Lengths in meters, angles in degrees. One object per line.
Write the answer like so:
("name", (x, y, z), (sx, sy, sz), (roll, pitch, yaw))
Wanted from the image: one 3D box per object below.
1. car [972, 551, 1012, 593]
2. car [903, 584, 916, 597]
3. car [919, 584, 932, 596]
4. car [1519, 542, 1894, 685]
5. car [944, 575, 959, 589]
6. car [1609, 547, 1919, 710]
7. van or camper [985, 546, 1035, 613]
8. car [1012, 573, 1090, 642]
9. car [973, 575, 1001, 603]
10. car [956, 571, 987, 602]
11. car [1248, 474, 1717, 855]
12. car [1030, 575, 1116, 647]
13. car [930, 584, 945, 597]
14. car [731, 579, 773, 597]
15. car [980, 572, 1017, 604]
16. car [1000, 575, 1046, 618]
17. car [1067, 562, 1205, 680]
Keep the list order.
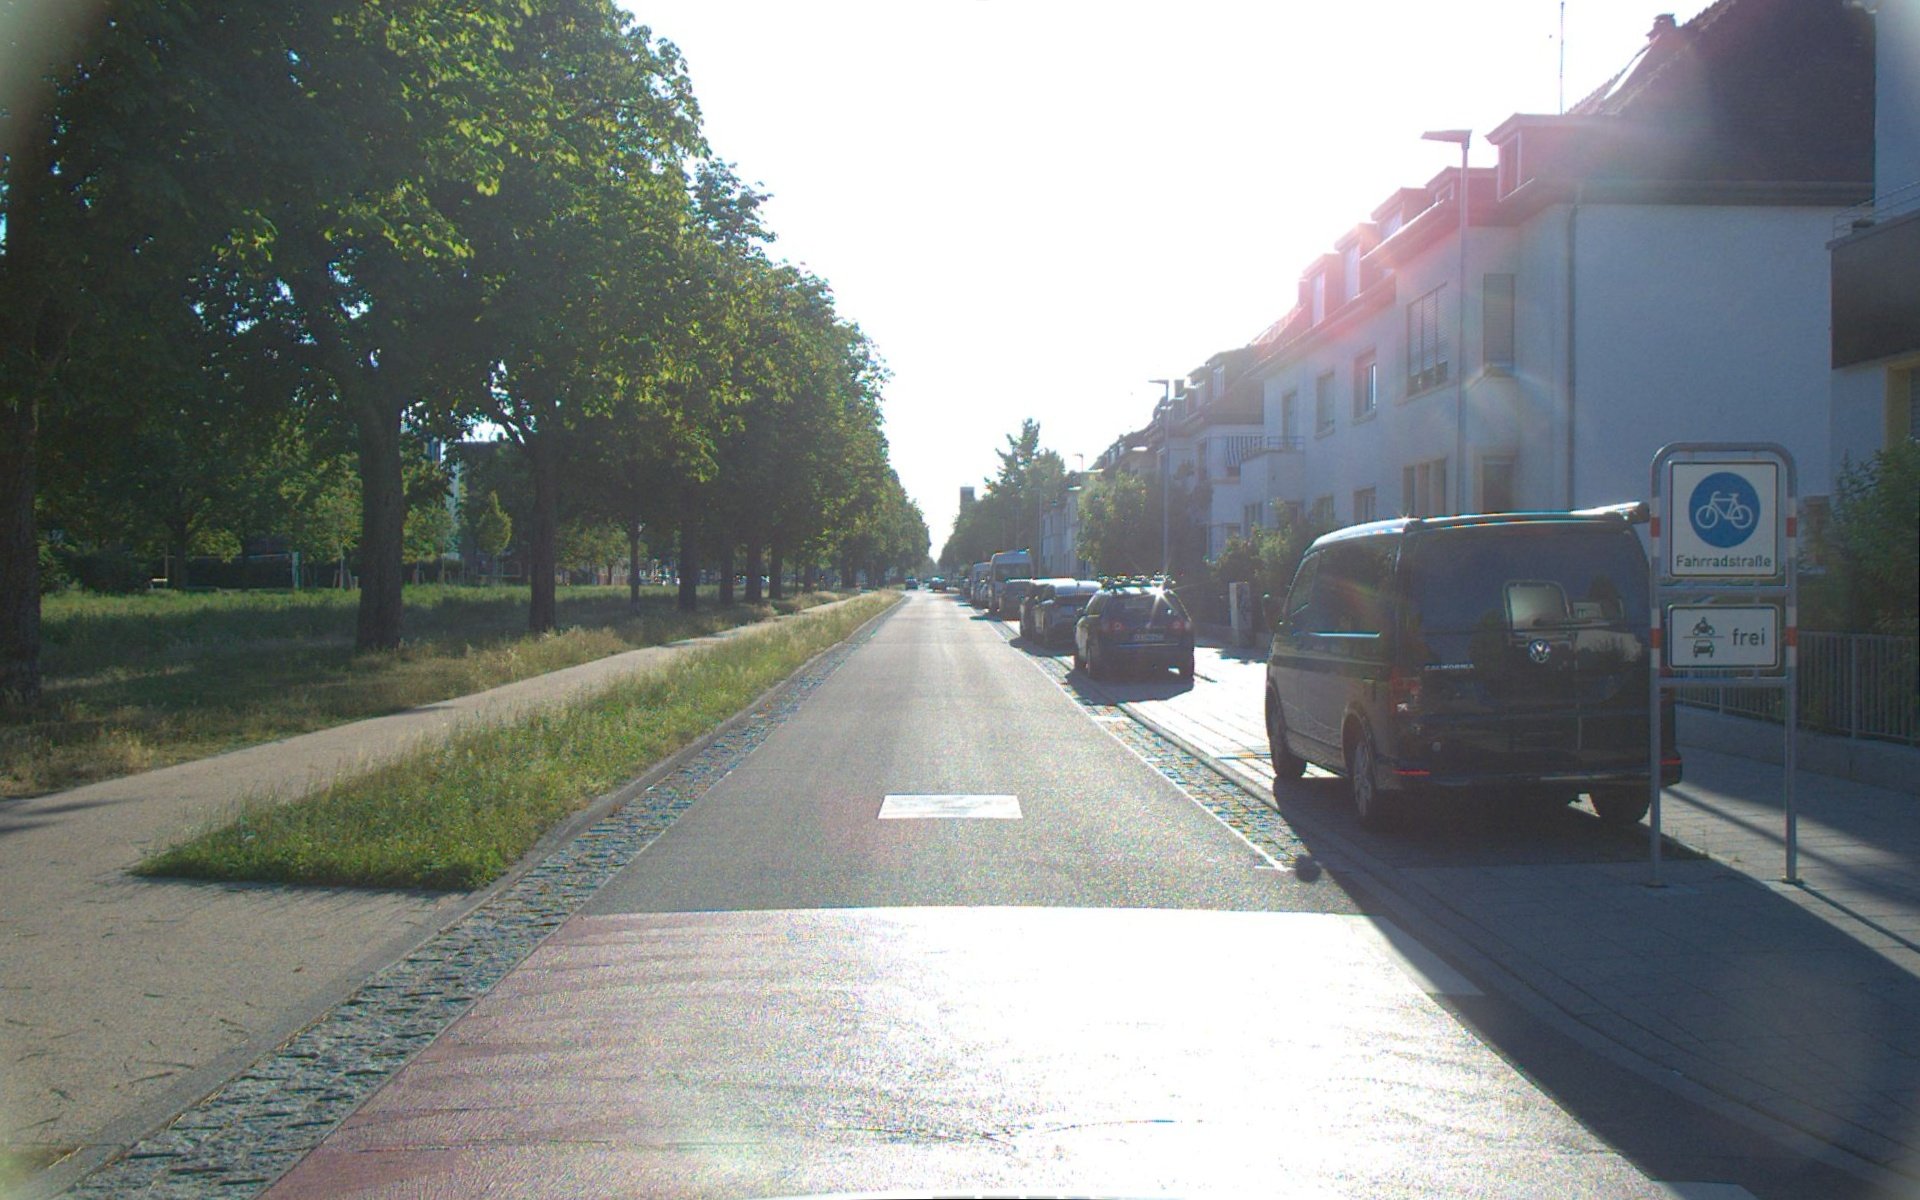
("car", (1.974, -1.773, 103.710), (2.084, 2.576, 5.186), (-1, 1, -3))
("car", (-7.012, -1.312, 229.101), (1.825, 1.625, 3.869), (1, 1, -2))
("car", (-5.074, -1.435, 239.876), (1.825, 1.625, 3.869), (1, 1, -2))
("car", (9.757, 0.154, 21.803), (4.134, 1.756, 1.852), (-1, 1, -5))
("car", (-0.996, -2.057, 191.253), (1.616, 1.557, 3.851), (-1, 1, 0))
("car", (10.027, 0.322, 19.322), (4.134, 1.756, 1.852), (1, 1, -5))
("van or camper", (2.181, -0.894, 73.408), (1.904, 2.826, 5.939), (1, 0, -1))
("car", (2.465, 0.165, 45.832), (1.795, 1.714, 4.415), (2, 2, -1))
("car", (1.576, -0.639, 97.549), (1.616, 1.557, 3.851), (-1, 1, 0))
("car", (0.777, -0.984, 118.979), (2.083, 2.103, 5.188), (-1, 1, -1))
("car", (3.486, 0.320, 12.097), (1.867, 2.169, 4.815), (-2, 1, 0))
("car", (2.695, 0.219, 40.071), (1.683, 1.601, 4.210), (-2, 1, -1))
("car", (-2.885, -1.190, 209.649), (1.825, 1.624, 3.893), (0, 1, -2))
("car", (-22.154, -1.319, 176.101), (4.266, 1.795, 1.996), (1, 0, -10))
("car", (2.123, -0.699, 92.159), (1.800, 1.664, 4.130), (-1, 1, -2))
("car", (2.518, -0.167, 66.914), (1.630, 1.620, 4.085), (-2, 1, -1))
("car", (2.933, 0.279, 28.393), (1.757, 1.802, 4.472), (-2, 1, -1))
